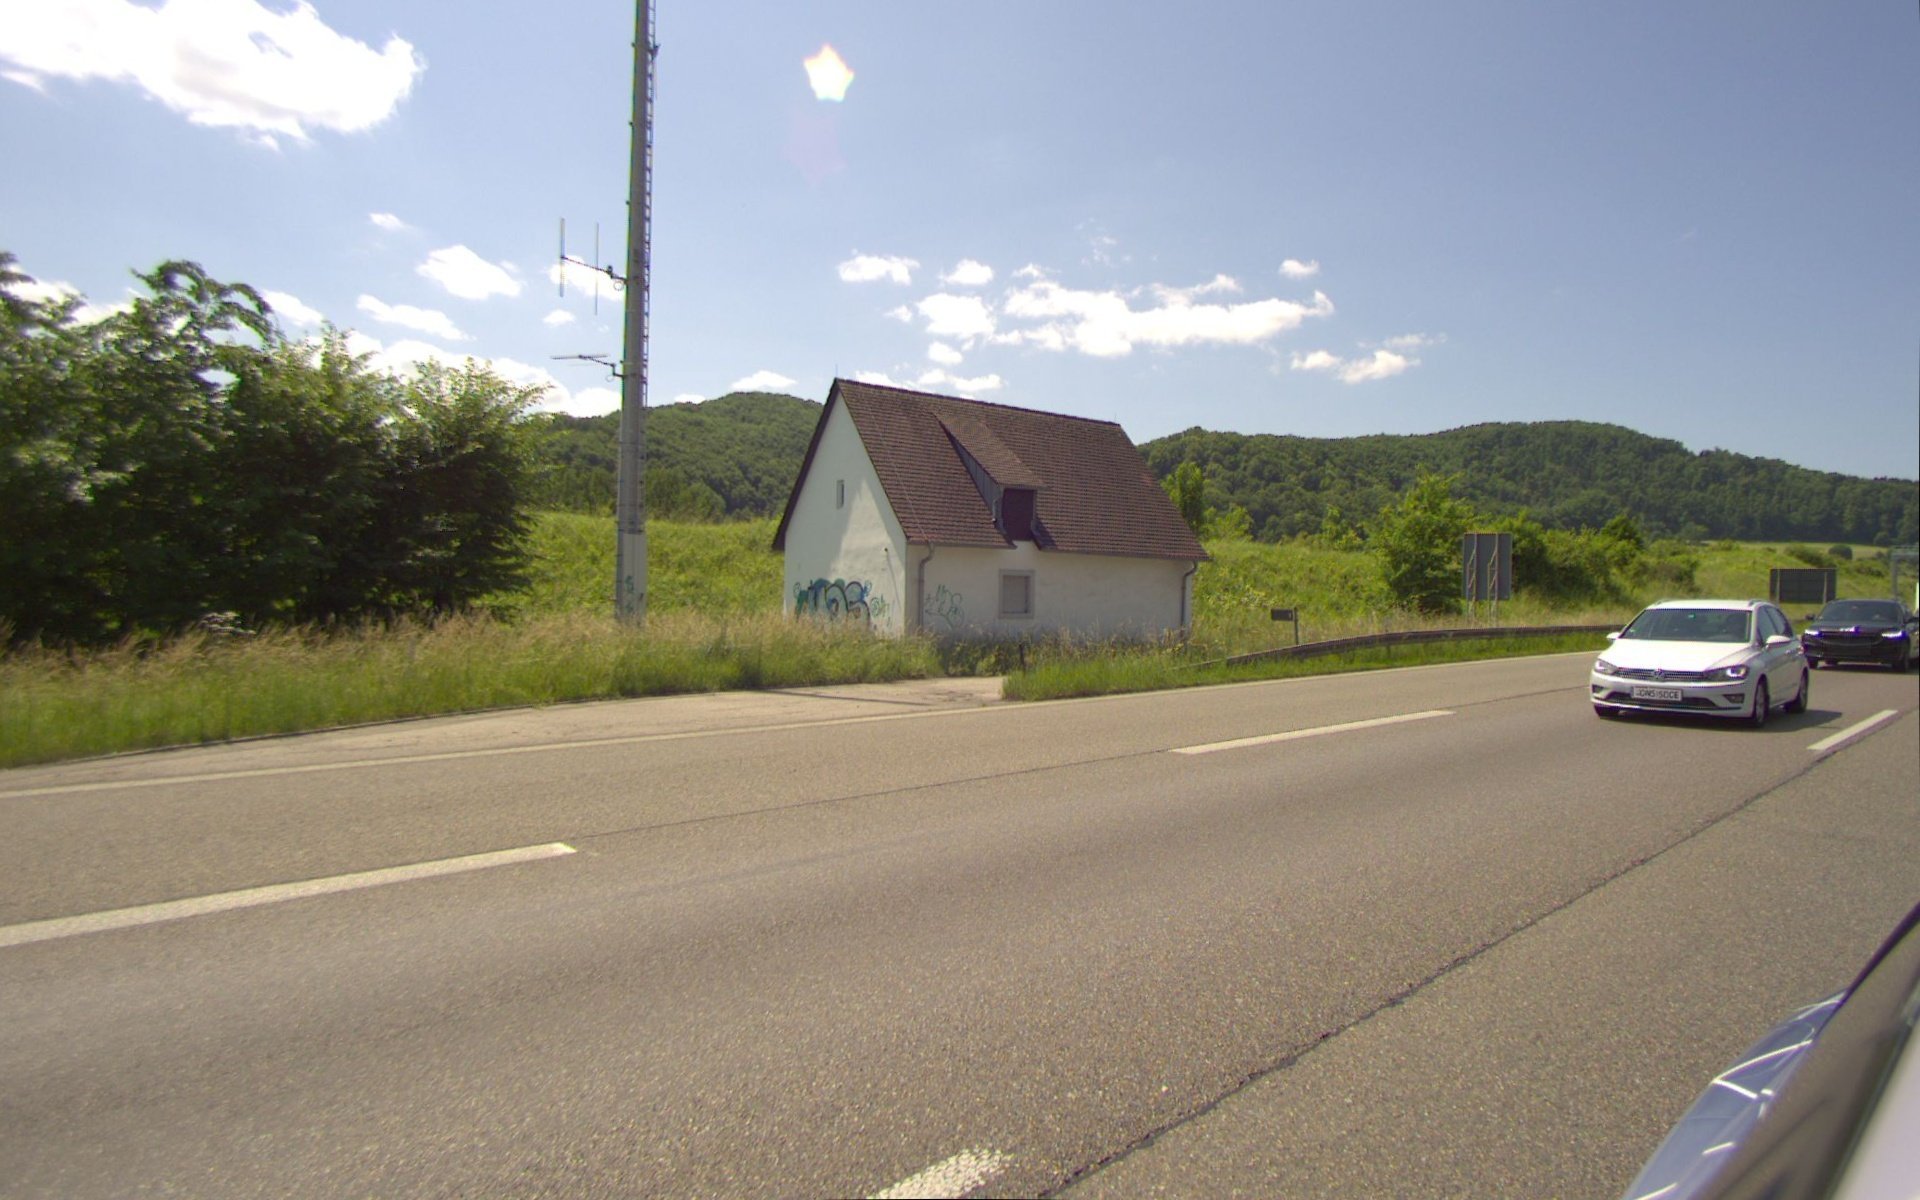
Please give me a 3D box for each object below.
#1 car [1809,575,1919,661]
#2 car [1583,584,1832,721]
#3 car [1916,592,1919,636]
[{"bbox_3d":[21.435,0.377,23.526,4.097,1.794,1.893,0,1,-40],"label":"car"},{"bbox_3d":[10.034,0.585,13.488,3.982,1.560,1.776,0,0,-40],"label":"car"},{"bbox_3d":[37.216,0.523,37.751,3.929,1.603,1.820,0,1,-40],"label":"car"}]
